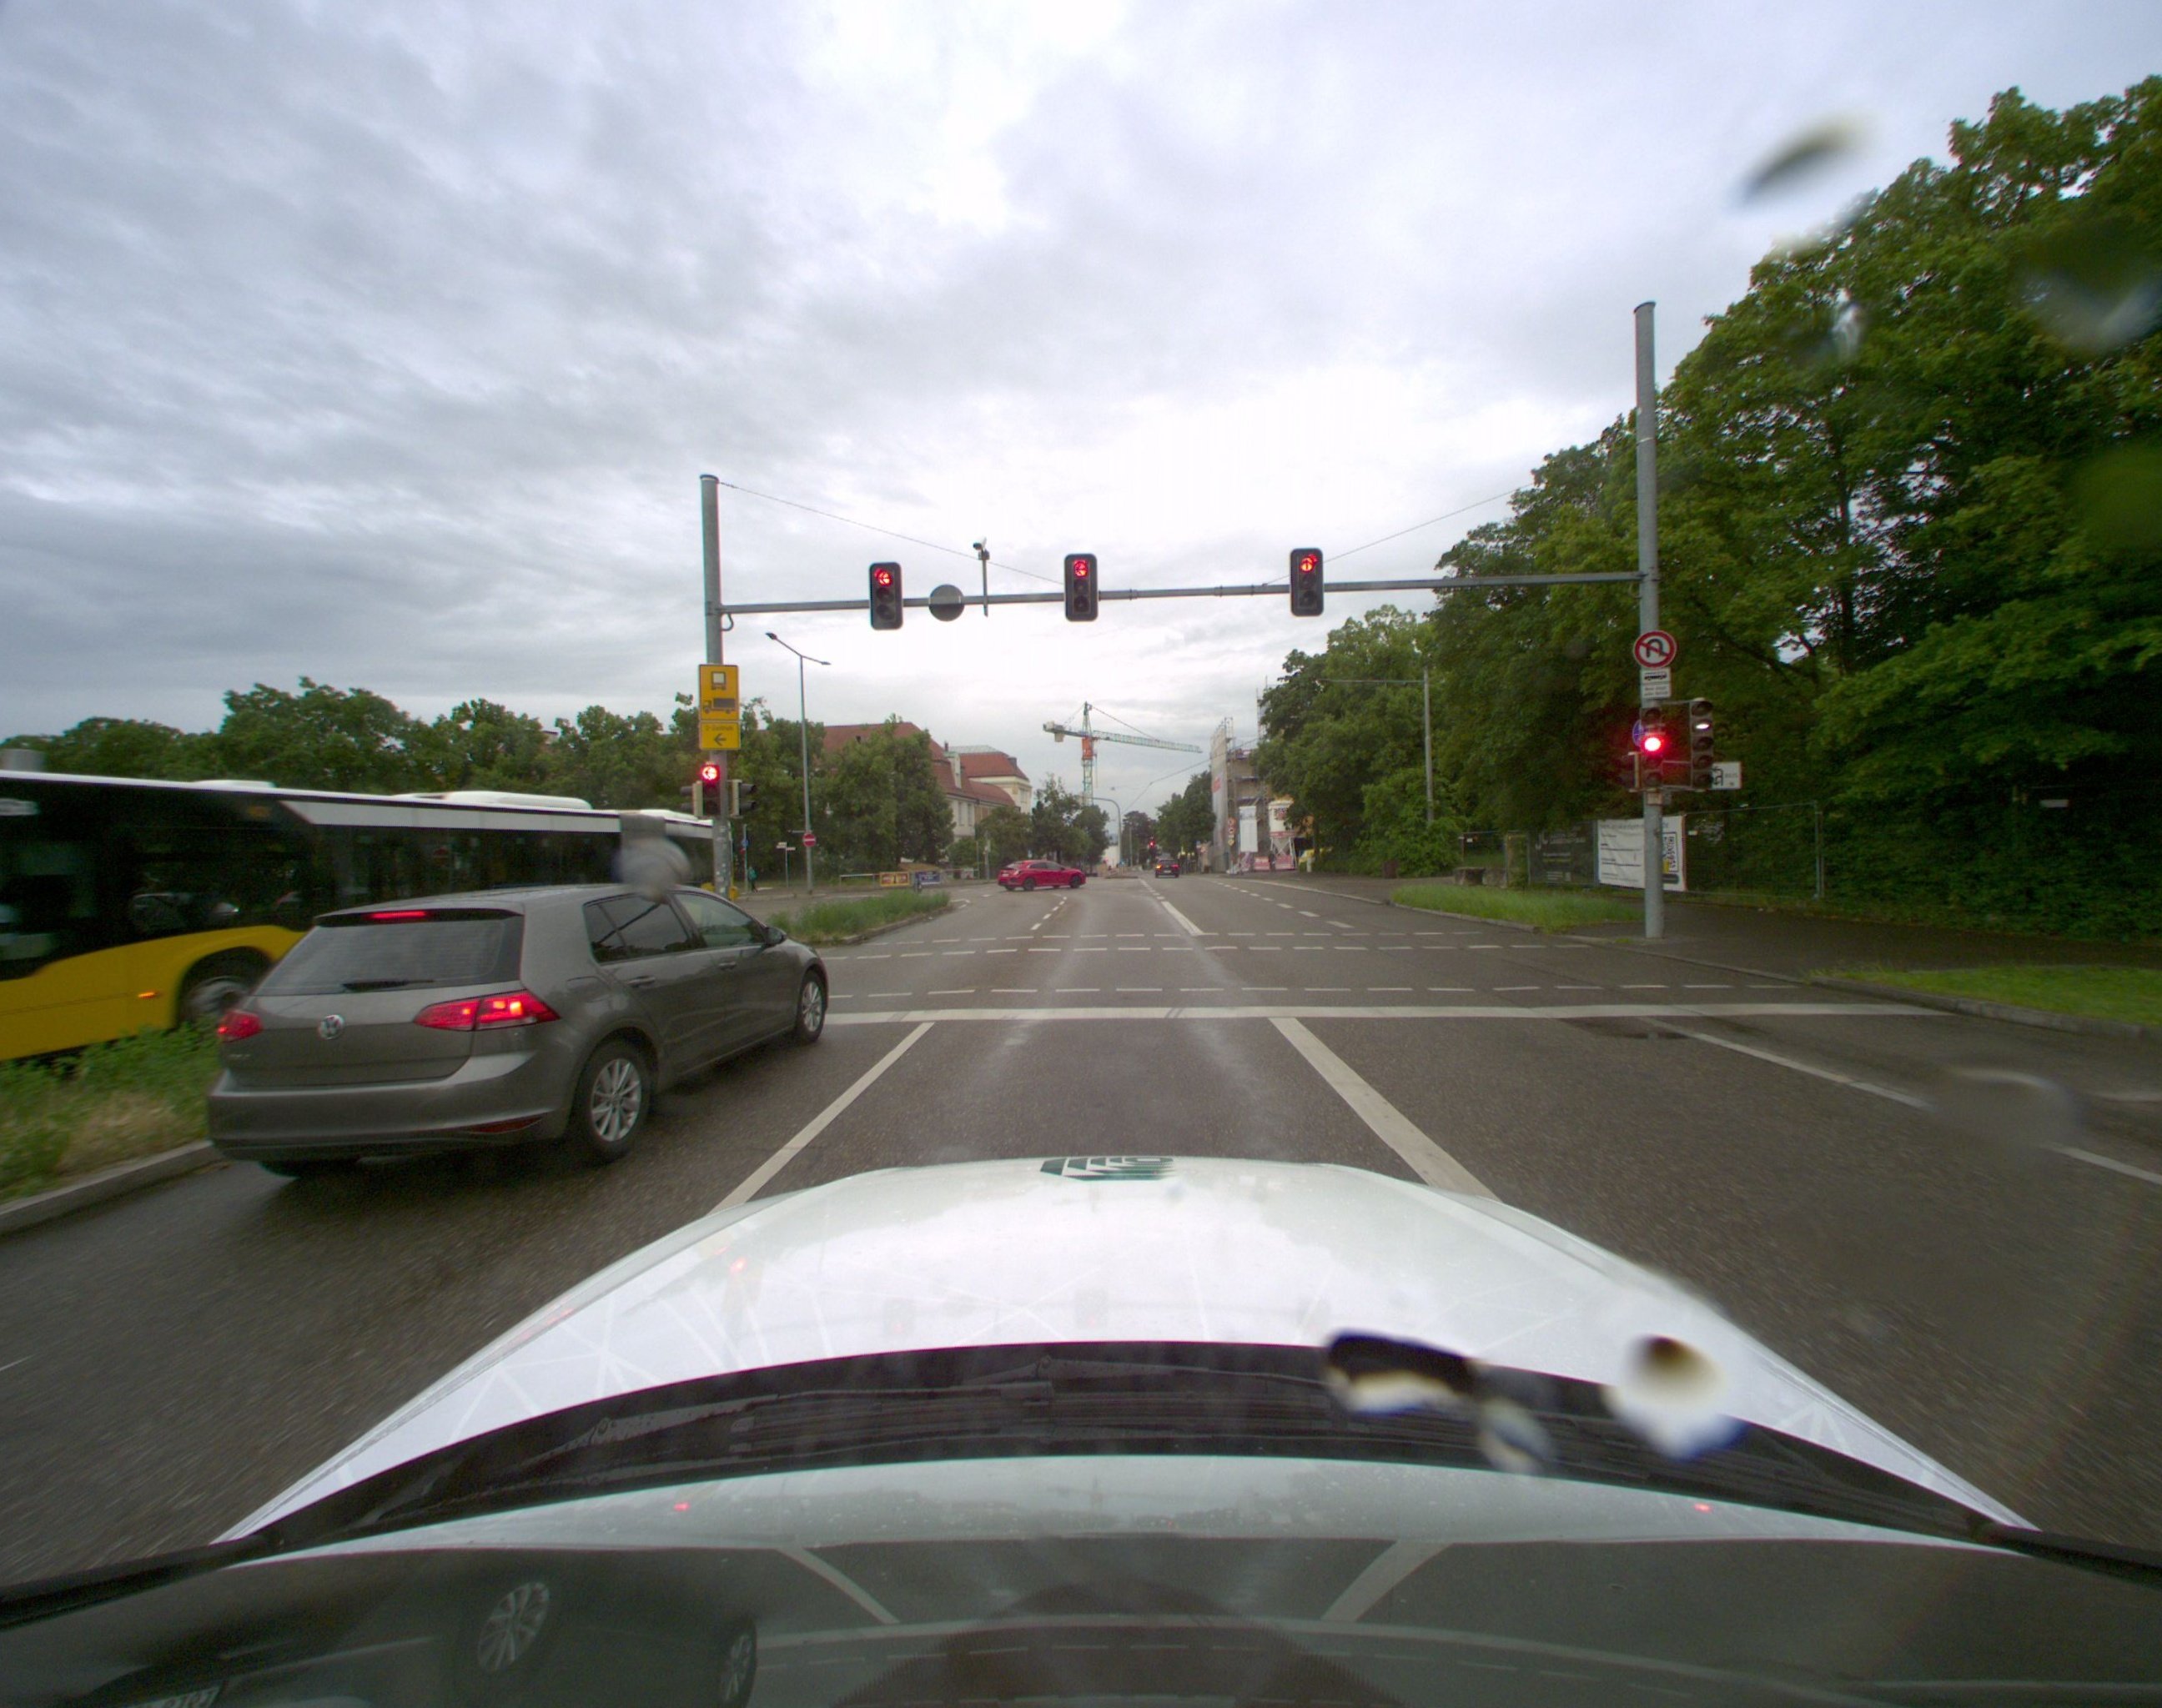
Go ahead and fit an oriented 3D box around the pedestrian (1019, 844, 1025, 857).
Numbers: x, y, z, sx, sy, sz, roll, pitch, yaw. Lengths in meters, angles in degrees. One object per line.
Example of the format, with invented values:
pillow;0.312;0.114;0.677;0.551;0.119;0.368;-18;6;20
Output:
pedestrian;-6.380;-0.363;87.785;0.584;1.430;0.467;0;-2;3

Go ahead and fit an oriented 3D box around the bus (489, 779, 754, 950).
bus;-10.814;0.212;20.450;2.887;3.307;8.548;-2;0;-9

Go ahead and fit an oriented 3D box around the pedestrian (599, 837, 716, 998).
pedestrian;-5.662;0.821;10.932;0.935;2.013;0.849;-5;-1;7

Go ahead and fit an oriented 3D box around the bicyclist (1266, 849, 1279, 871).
bicyclist;13.917;0.471;59.242;0.717;1.564;1.144;0;-2;4

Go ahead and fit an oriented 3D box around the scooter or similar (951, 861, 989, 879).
scooter or similar;-9.665;1.384;71.073;3.077;1.440;0.949;-2;0;0

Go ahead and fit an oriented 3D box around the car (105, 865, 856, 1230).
car;-3.182;0.867;5.598;1.798;1.429;4.201;-4;0;3

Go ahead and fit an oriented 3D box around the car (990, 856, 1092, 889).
car;-1.894;0.877;39.223;4.539;1.425;1.978;-1;0;-35

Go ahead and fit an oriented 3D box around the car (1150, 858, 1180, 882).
car;6.313;1.235;61.450;1.986;1.706;4.001;0;-2;2

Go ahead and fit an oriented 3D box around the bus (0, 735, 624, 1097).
bus;-10.559;0.582;11.001;2.877;3.103;9.761;-2;0;2

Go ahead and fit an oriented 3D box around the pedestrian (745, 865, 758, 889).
pedestrian;-20.677;1.442;51.078;0.619;1.490;0.768;-2;0;-14

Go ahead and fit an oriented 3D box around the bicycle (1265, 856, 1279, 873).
bicycle;13.917;0.758;59.292;0.717;1.193;1.757;0;-2;4
